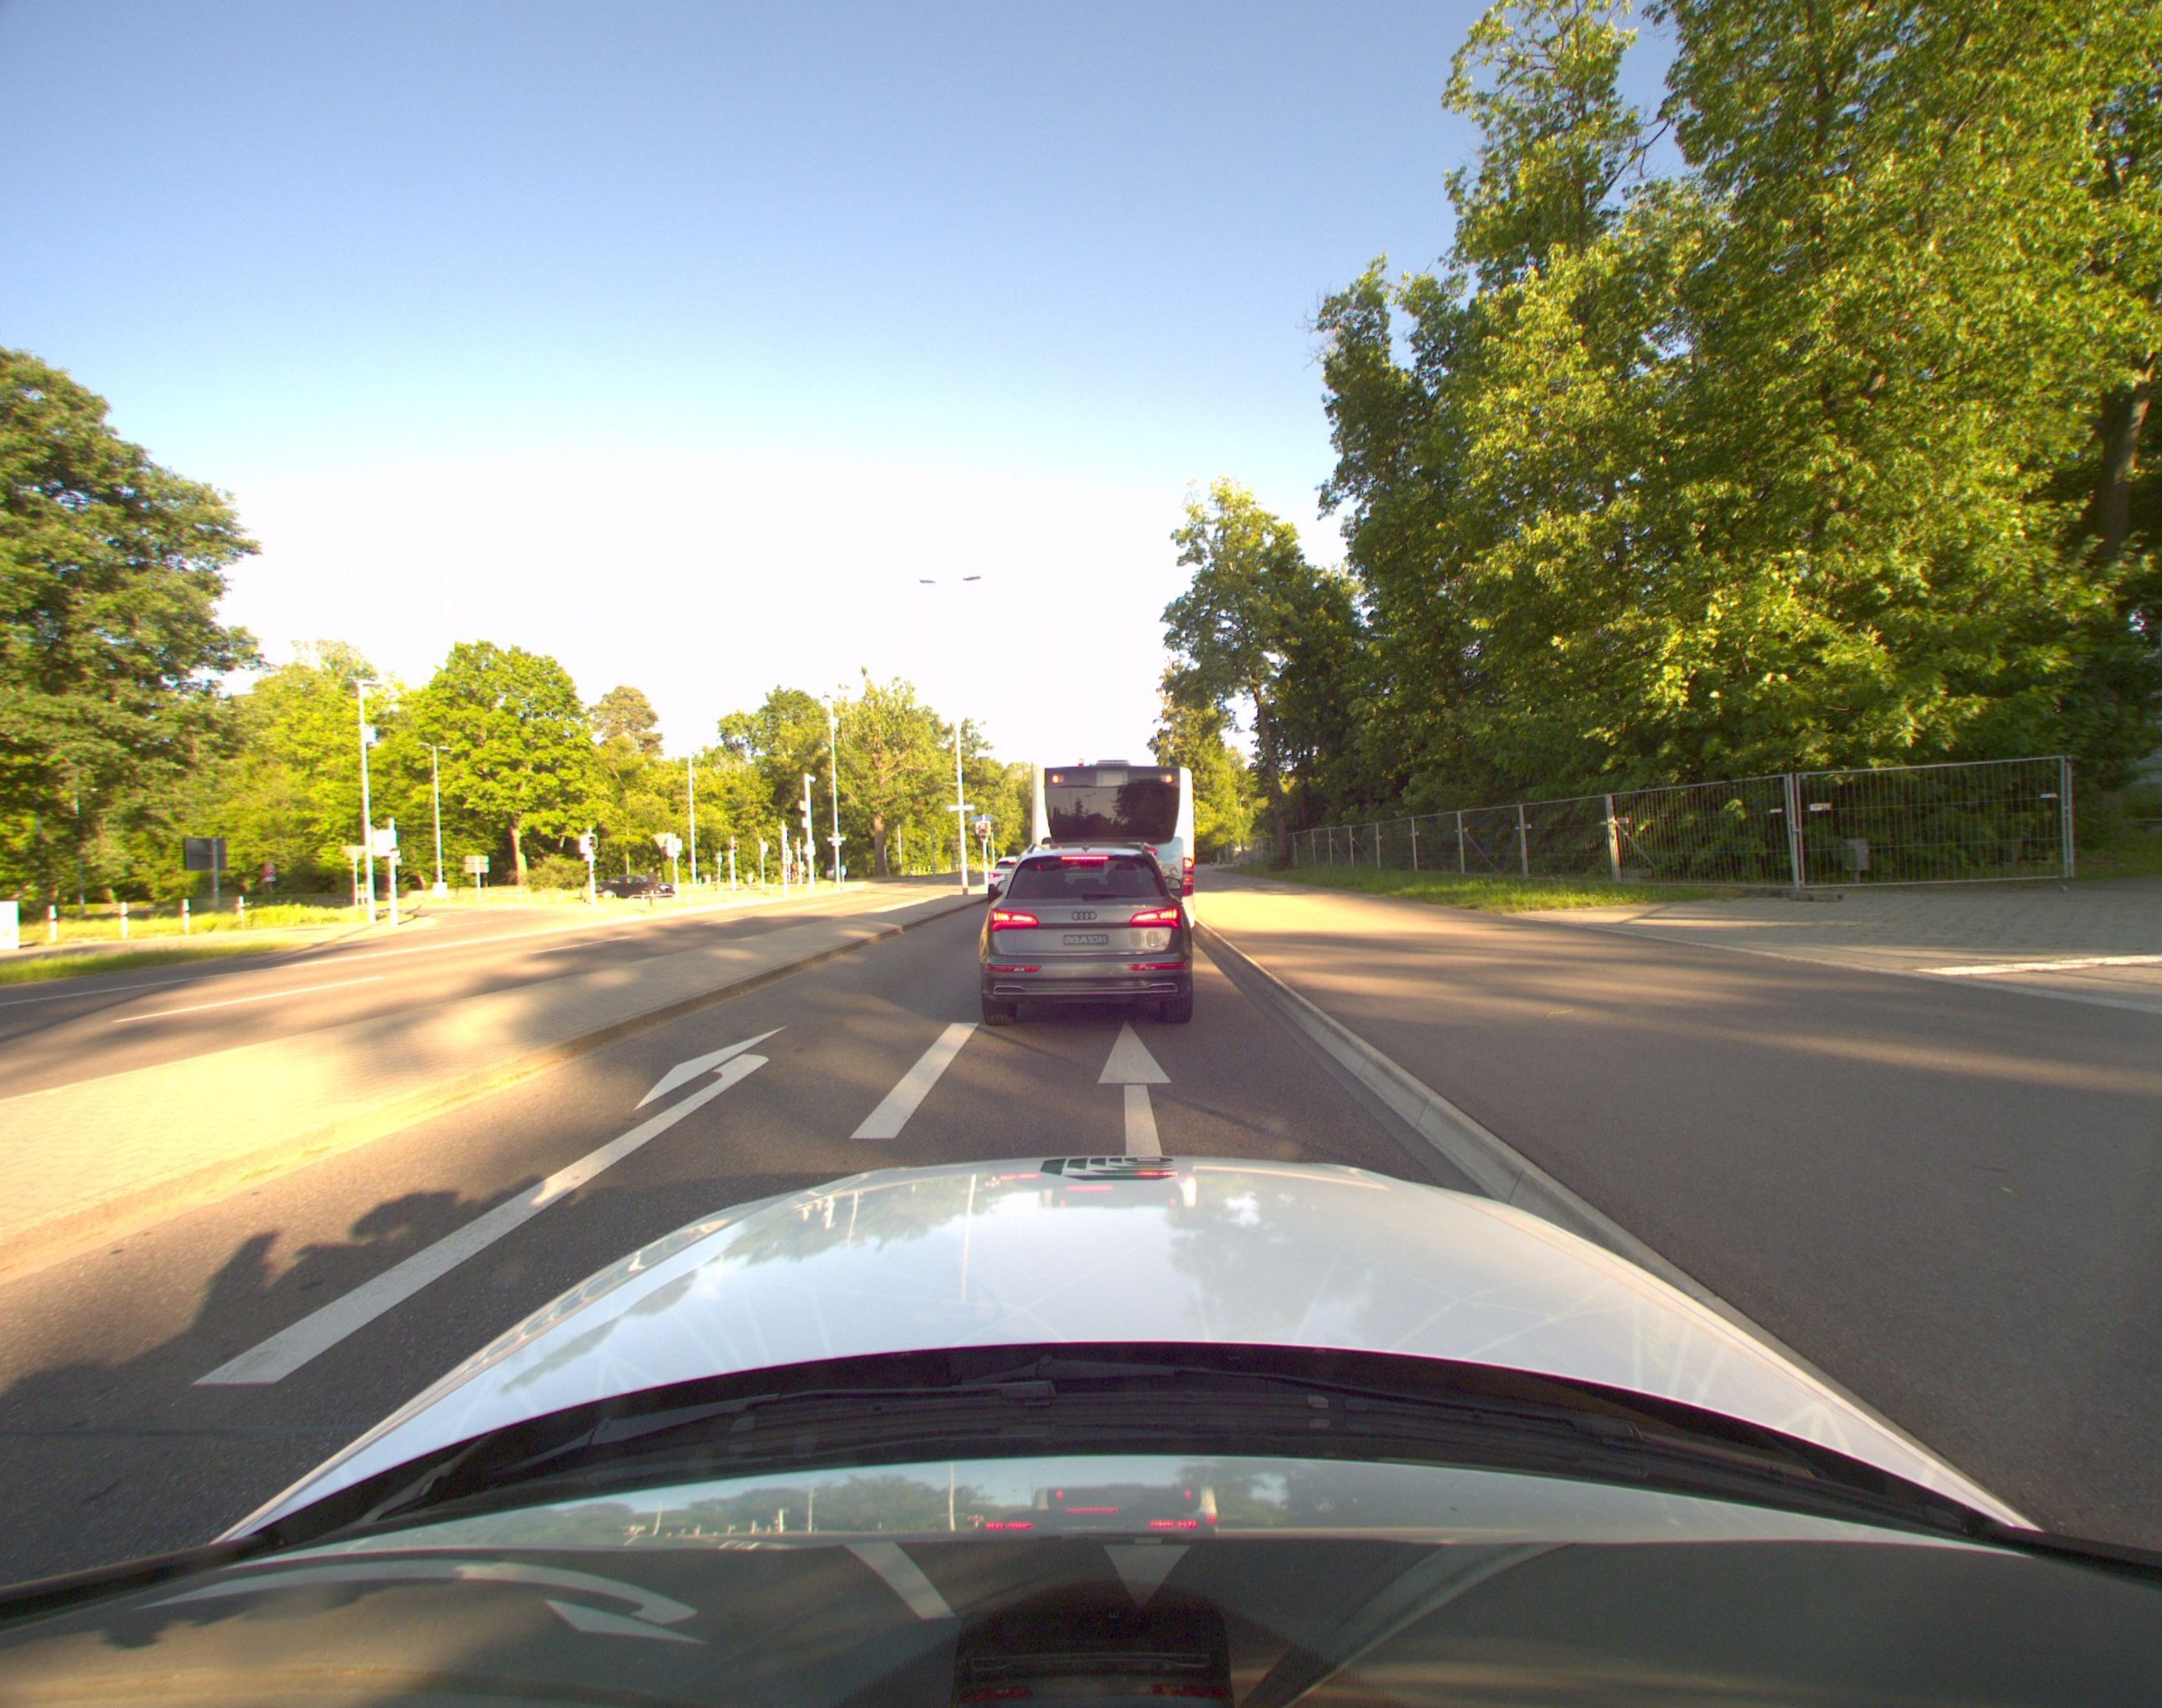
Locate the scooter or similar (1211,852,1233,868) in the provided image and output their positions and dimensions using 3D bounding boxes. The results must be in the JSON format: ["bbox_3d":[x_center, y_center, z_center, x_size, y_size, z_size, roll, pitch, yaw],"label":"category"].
[{"bbox_3d":[13.478,0.552,77.718,2.025,1.444,0.601,-3,0,-23],"label":"scooter or similar"}]

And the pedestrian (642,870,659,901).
[{"bbox_3d":[-22.696,1.662,42.911,0.652,1.560,0.533,-2,0,-41],"label":"pedestrian"}]

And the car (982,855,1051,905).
[{"bbox_3d":[-2.114,0.817,27.657,1.829,1.518,4.002,-2,0,2],"label":"car"}]

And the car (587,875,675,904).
[{"bbox_3d":[-25.799,2.026,46.720,4.081,1.387,1.755,-3,0,6],"label":"car"}]

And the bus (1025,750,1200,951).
[{"bbox_3d":[0.621,-0.003,16.940,2.585,2.989,9.330,-1,-1,2],"label":"bus"}]

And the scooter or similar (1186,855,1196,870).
[{"bbox_3d":[10.902,0.813,80.537,0.507,1.444,2.020,-3,0,-3],"label":"scooter or similar"}]

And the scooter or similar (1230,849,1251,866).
[{"bbox_3d":[15.460,0.353,78.969,0.543,1.567,1.999,-3,0,-37],"label":"scooter or similar"}]

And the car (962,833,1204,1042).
[{"bbox_3d":[0.079,0.662,8.443,1.891,1.632,4.002,-1,0,2],"label":"car"}]
